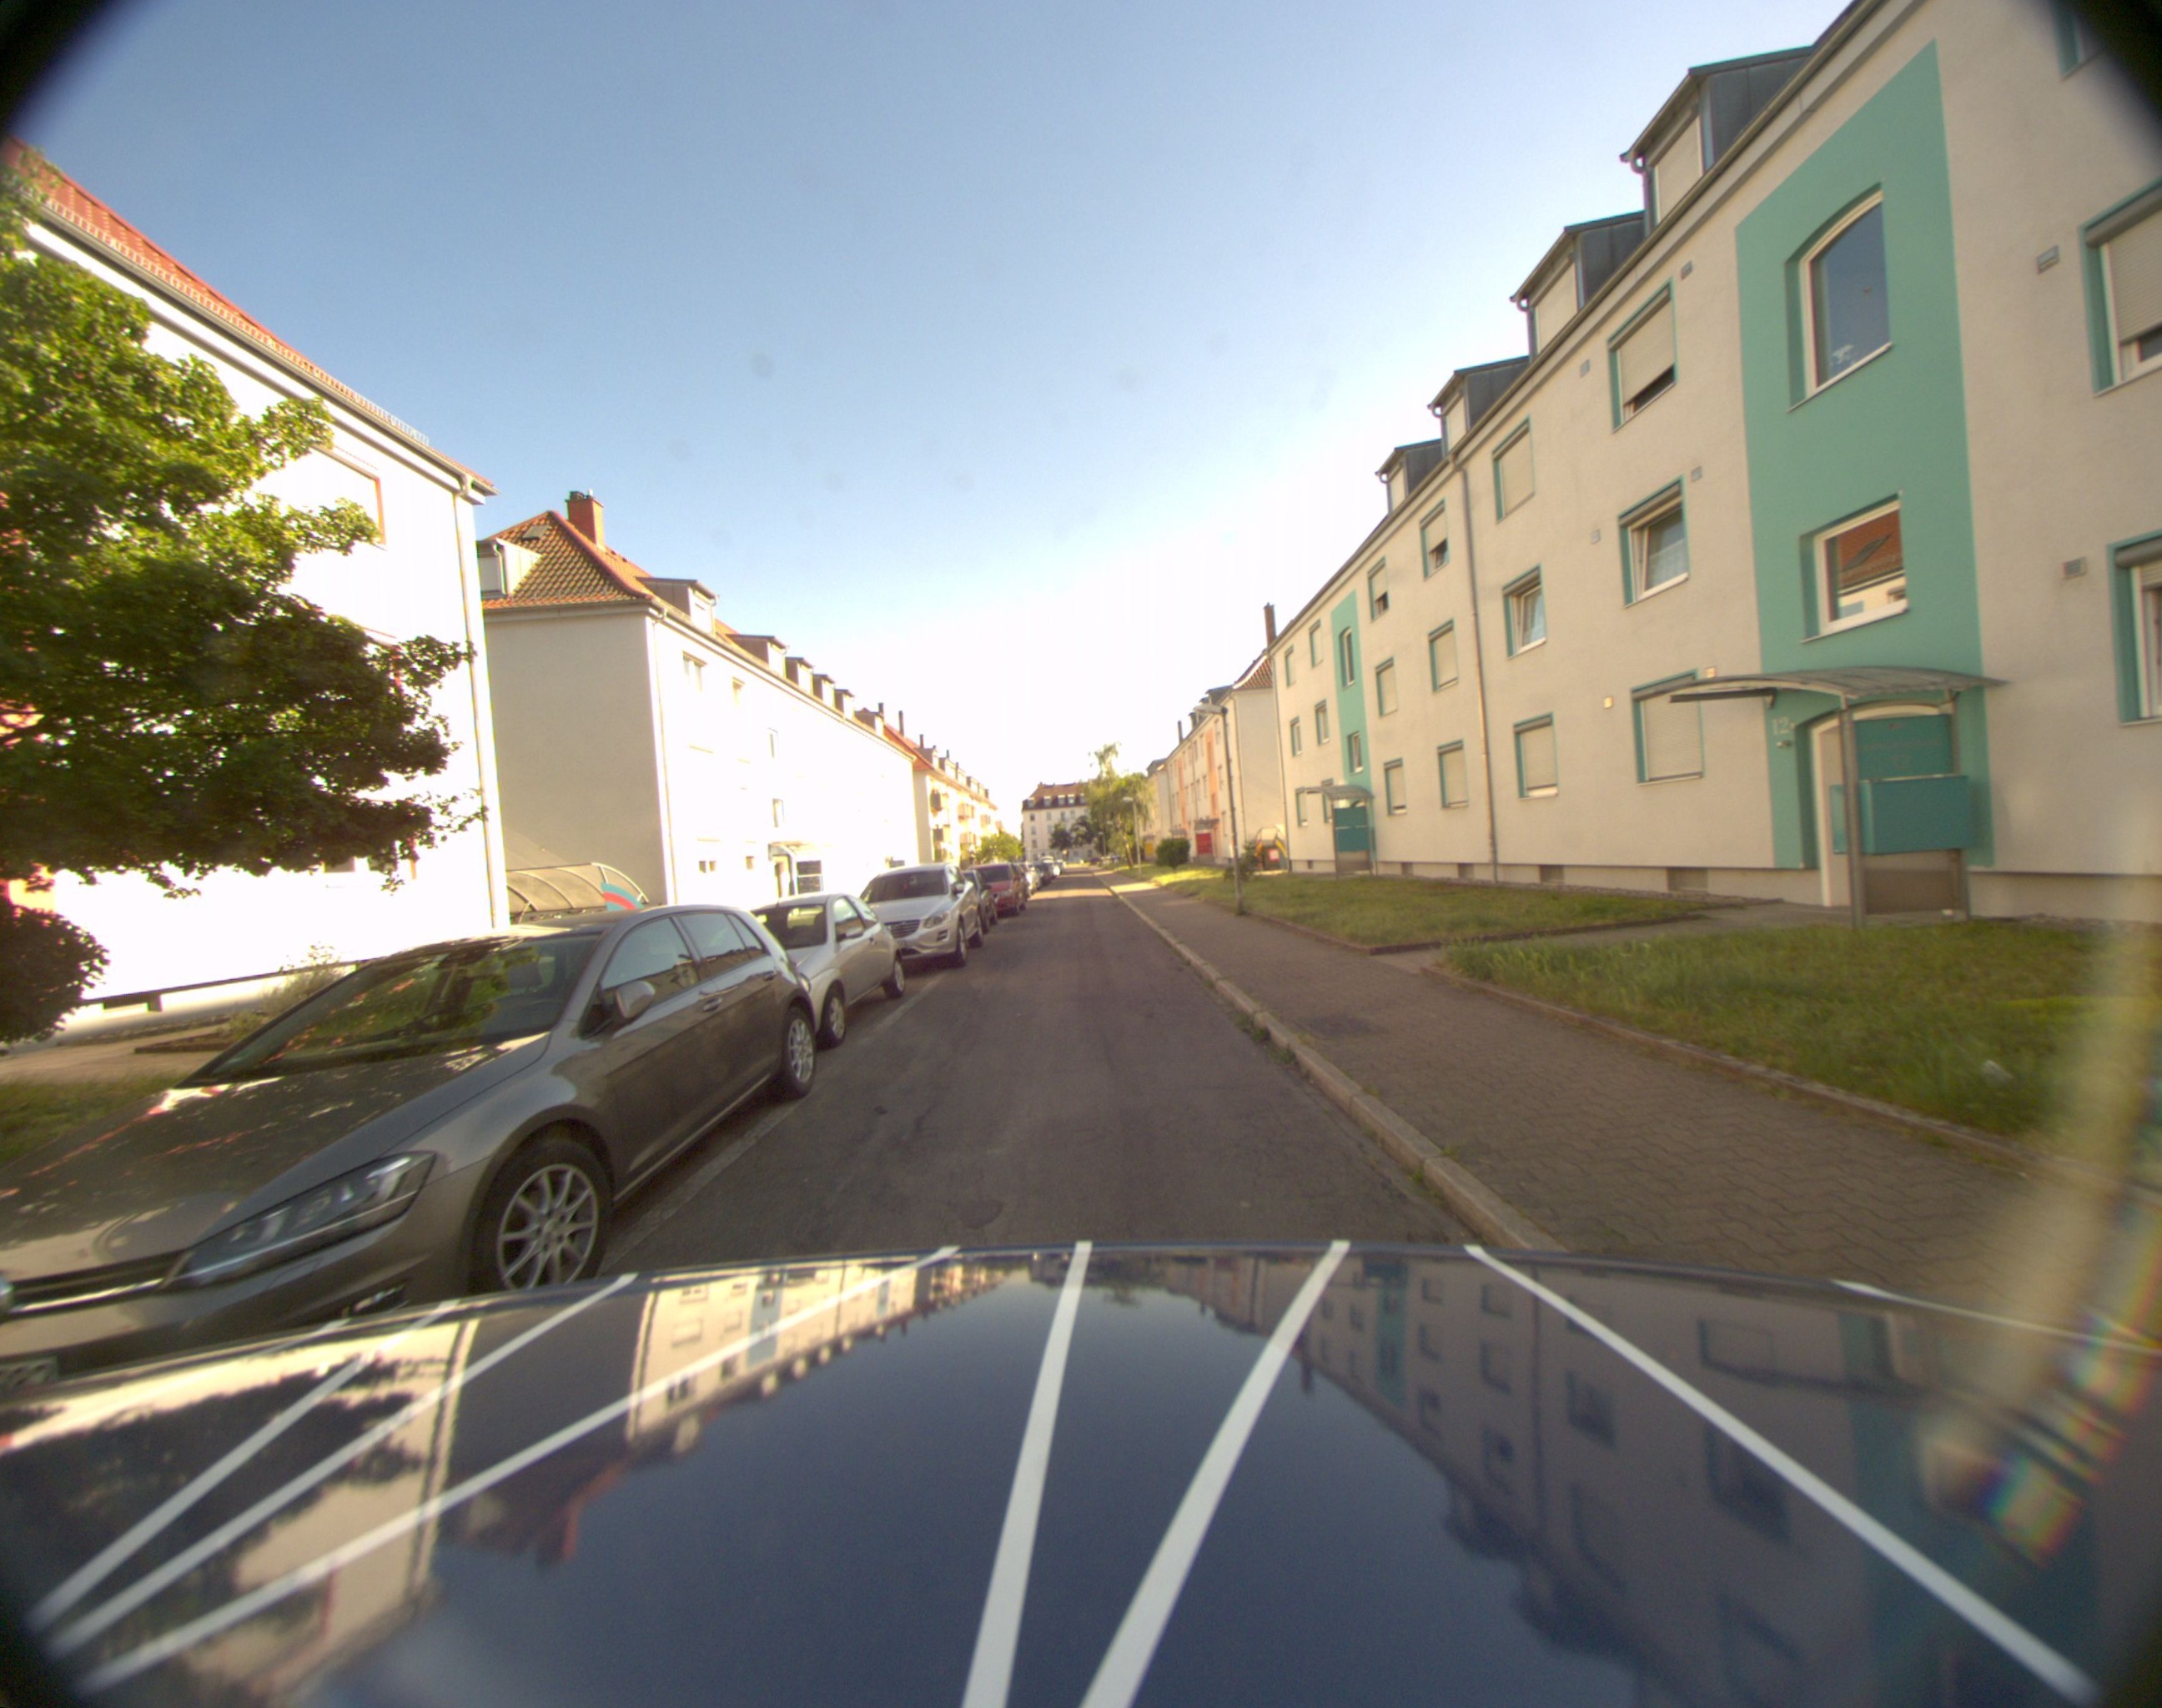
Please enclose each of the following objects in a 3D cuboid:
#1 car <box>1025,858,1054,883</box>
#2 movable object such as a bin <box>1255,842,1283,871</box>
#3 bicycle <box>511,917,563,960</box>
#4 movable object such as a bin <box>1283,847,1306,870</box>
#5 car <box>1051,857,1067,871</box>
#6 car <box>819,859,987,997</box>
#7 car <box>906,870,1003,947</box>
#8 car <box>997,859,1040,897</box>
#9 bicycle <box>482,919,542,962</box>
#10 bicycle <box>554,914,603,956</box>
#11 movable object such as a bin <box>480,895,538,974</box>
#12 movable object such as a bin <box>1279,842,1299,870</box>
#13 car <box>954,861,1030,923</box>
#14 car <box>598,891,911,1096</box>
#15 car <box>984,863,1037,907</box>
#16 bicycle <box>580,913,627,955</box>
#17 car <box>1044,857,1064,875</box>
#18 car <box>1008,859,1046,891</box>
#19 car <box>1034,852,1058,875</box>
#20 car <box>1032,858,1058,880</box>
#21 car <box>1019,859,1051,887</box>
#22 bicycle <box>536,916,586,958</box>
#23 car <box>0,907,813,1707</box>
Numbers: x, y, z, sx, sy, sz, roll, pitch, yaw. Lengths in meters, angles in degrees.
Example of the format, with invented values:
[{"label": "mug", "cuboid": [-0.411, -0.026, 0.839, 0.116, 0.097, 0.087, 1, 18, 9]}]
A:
[{"label": "car", "cuboid": [-2.897, 1.138, 53.929, 1.709, 1.562, 4.041, -4, 0, 0]}, {"label": "movable object such as a bin", "cuboid": [9.699, 0.134, 39.196, 1.167, 1.385, 0.877, -4, 0, 0]}, {"label": "bicycle", "cuboid": [-13.991, 2.153, 19.567, 0.319, 0.940, 1.283, -3, 0, 2]}, {"label": "movable object such as a bin", "cuboid": [9.628, 0.204, 34.254, 0.753, 1.006, 0.763, -4, 0, 0]}, {"label": "car", "cuboid": [-2.812, 1.231, 97.217, 1.709, 1.562, 3.925, -4, 1, 1]}, {"label": "car", "cuboid": [-2.743, 1.053, 12.777, 1.780, 1.709, 4.306, -7, 0, -2]}, {"label": "car", "cuboid": [-2.968, 1.234, 18.609, 1.621, 1.440, 3.857, -7, 0, -1]}, {"label": "car", "cuboid": [-2.971, 1.120, 36.817, 1.709, 1.562, 3.876, -4, 0, 0]}, {"label": "bicycle", "cuboid": [-14.794, 2.235, 19.789, 0.319, 0.940, 1.509, -3, 0, 2]}, {"label": "bicycle", "cuboid": [-12.948, 2.078, 19.597, 0.319, 0.940, 1.283, -3, 0, 2]}, {"label": "movable object such as a bin", "cuboid": [-11.878, 1.651, 15.789, 0.595, 1.542, 0.624, -4, 1, 1]}, {"label": "movable object such as a bin", "cuboid": [10.713, 0.083, 39.194, 0.753, 1.385, 0.763, -4, 0, 0]}, {"label": "car", "cuboid": [-2.662, 1.092, 23.697, 1.732, 1.597, 4.423, -4, 0, 0]}, {"label": "car", "cuboid": [-3.042, 1.218, 7.918, 1.632, 1.386, 3.489, -4, 0, 0]}, {"label": "car", "cuboid": [-2.877, 1.230, 31.815, 1.709, 1.516, 3.876, -6, 0, 0]}, {"label": "bicycle", "cuboid": [-12.256, 2.033, 19.525, 0.319, 0.940, 1.283, -3, 0, 2]}, {"label": "car", "cuboid": [-2.791, 1.245, 79.695, 1.709, 1.562, 4.734, -4, 1, 1]}, {"label": "car", "cuboid": [-2.975, 1.161, 42.659, 1.709, 1.562, 4.041, -4, 0, 0]}, {"label": "car", "cuboid": [-3.309, 0.897, 72.975, 1.953, 1.890, 4.763, -4, 1, 1]}, {"label": "car", "cuboid": [-3.046, 1.239, 64.655, 1.708, 1.562, 4.381, -4, 1, 3]}, {"label": "car", "cuboid": [-2.881, 1.172, 48.522, 1.709, 1.562, 4.041, -4, 0, 0]}, {"label": "bicycle", "cuboid": [-13.445, 2.126, 19.681, 0.319, 0.940, 1.283, -3, 0, 2]}, {"label": "car", "cuboid": [-2.751, 1.168, 3.532, 1.633, 1.441, 3.951, -8, -1, -3]}]
